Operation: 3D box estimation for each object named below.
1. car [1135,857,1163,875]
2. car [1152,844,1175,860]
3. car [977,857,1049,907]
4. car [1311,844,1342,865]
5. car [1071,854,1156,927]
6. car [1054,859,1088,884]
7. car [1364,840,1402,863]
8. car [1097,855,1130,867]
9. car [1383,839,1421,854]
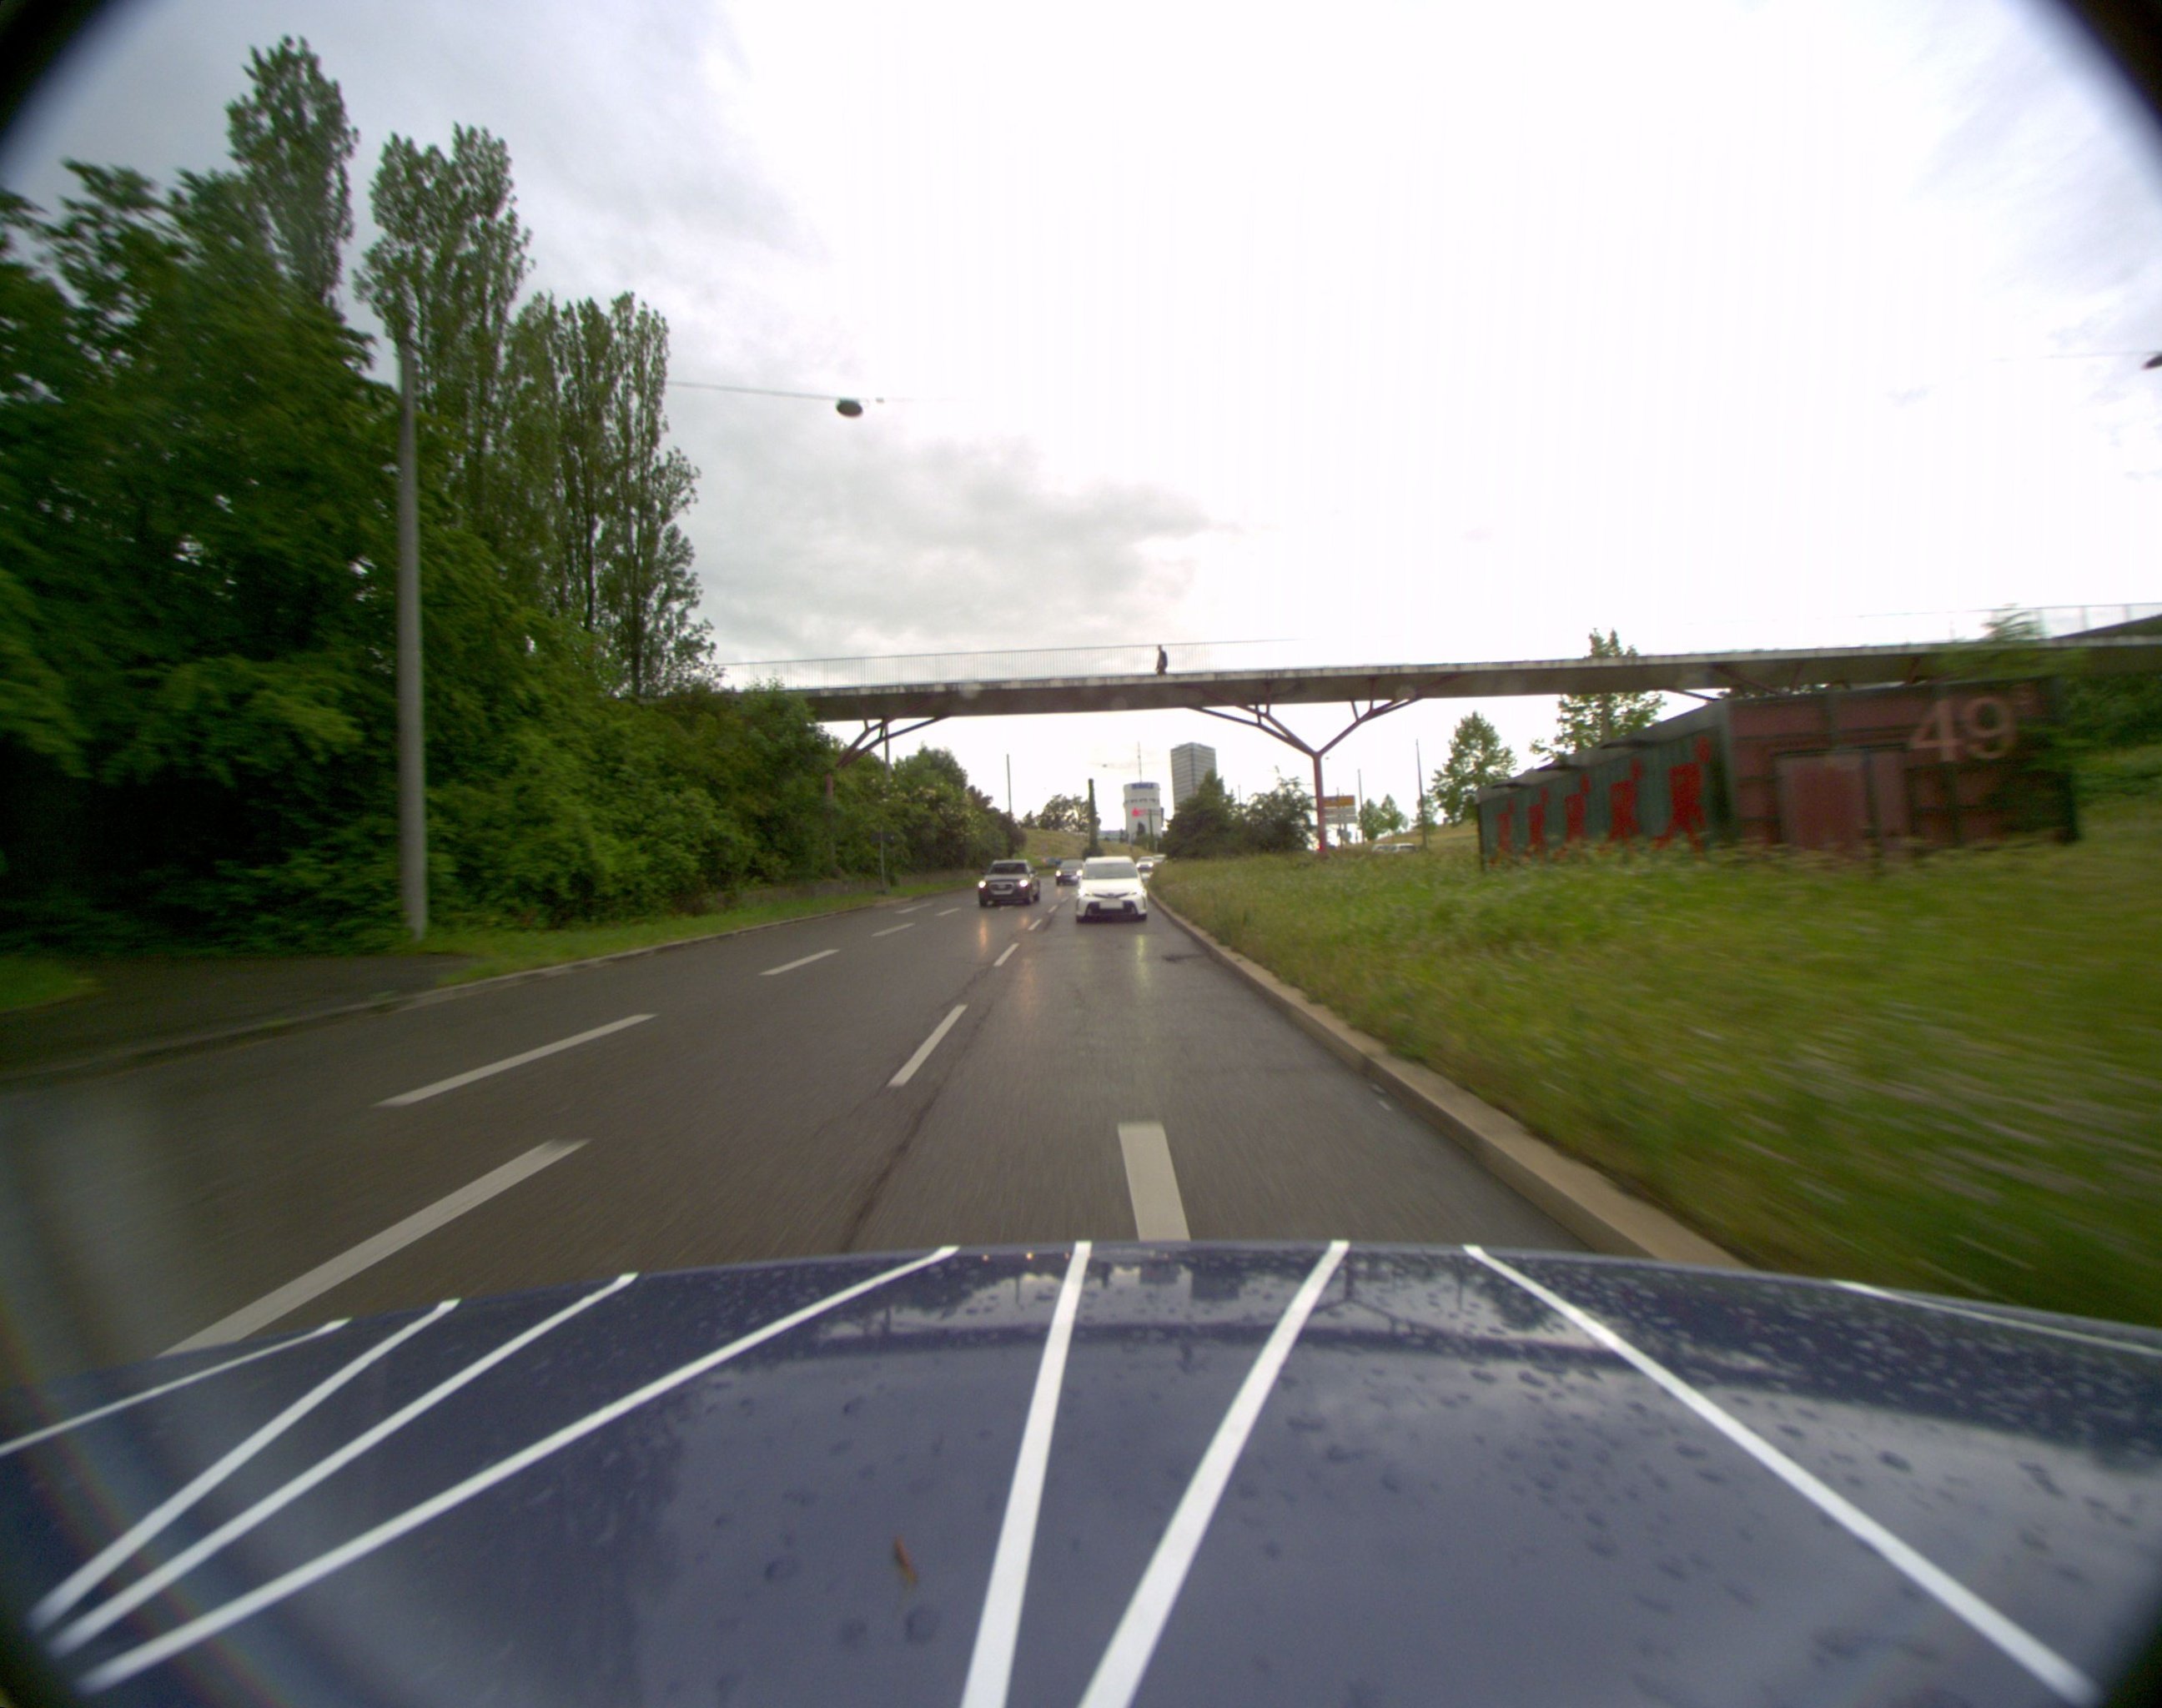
[{"bbox_3d":[6.879,1.229,76.563,1.996,1.761,4.005,-1,-1,16],"label":"car"},{"bbox_3d":[9.432,-0.237,86.754,1.996,1.761,4.004,-2,0,14],"label":"car"},{"bbox_3d":[-2.391,0.960,27.747,1.927,1.591,4.280,-2,0,3],"label":"car"},{"bbox_3d":[26.057,0.067,80.729,1.998,2.002,4.001,-5,0,3],"label":"car"},{"bbox_3d":[0.899,0.862,20.021,1.924,1.604,4.376,-3,0,4],"label":"car"},{"bbox_3d":[-0.571,1.048,46.723,1.846,1.377,4.000,-2,0,1],"label":"car"},{"bbox_3d":[28.724,-0.237,72.346,1.998,2.002,4.001,-5,0,3],"label":"car"},{"bbox_3d":[5.088,1.086,118.735,4.998,1.636,2.070,-3,0,-36],"label":"car"},{"bbox_3d":[23.347,-0.562,55.370,1.269,0.939,3.084,-5,3,-2],"label":"car"}]
